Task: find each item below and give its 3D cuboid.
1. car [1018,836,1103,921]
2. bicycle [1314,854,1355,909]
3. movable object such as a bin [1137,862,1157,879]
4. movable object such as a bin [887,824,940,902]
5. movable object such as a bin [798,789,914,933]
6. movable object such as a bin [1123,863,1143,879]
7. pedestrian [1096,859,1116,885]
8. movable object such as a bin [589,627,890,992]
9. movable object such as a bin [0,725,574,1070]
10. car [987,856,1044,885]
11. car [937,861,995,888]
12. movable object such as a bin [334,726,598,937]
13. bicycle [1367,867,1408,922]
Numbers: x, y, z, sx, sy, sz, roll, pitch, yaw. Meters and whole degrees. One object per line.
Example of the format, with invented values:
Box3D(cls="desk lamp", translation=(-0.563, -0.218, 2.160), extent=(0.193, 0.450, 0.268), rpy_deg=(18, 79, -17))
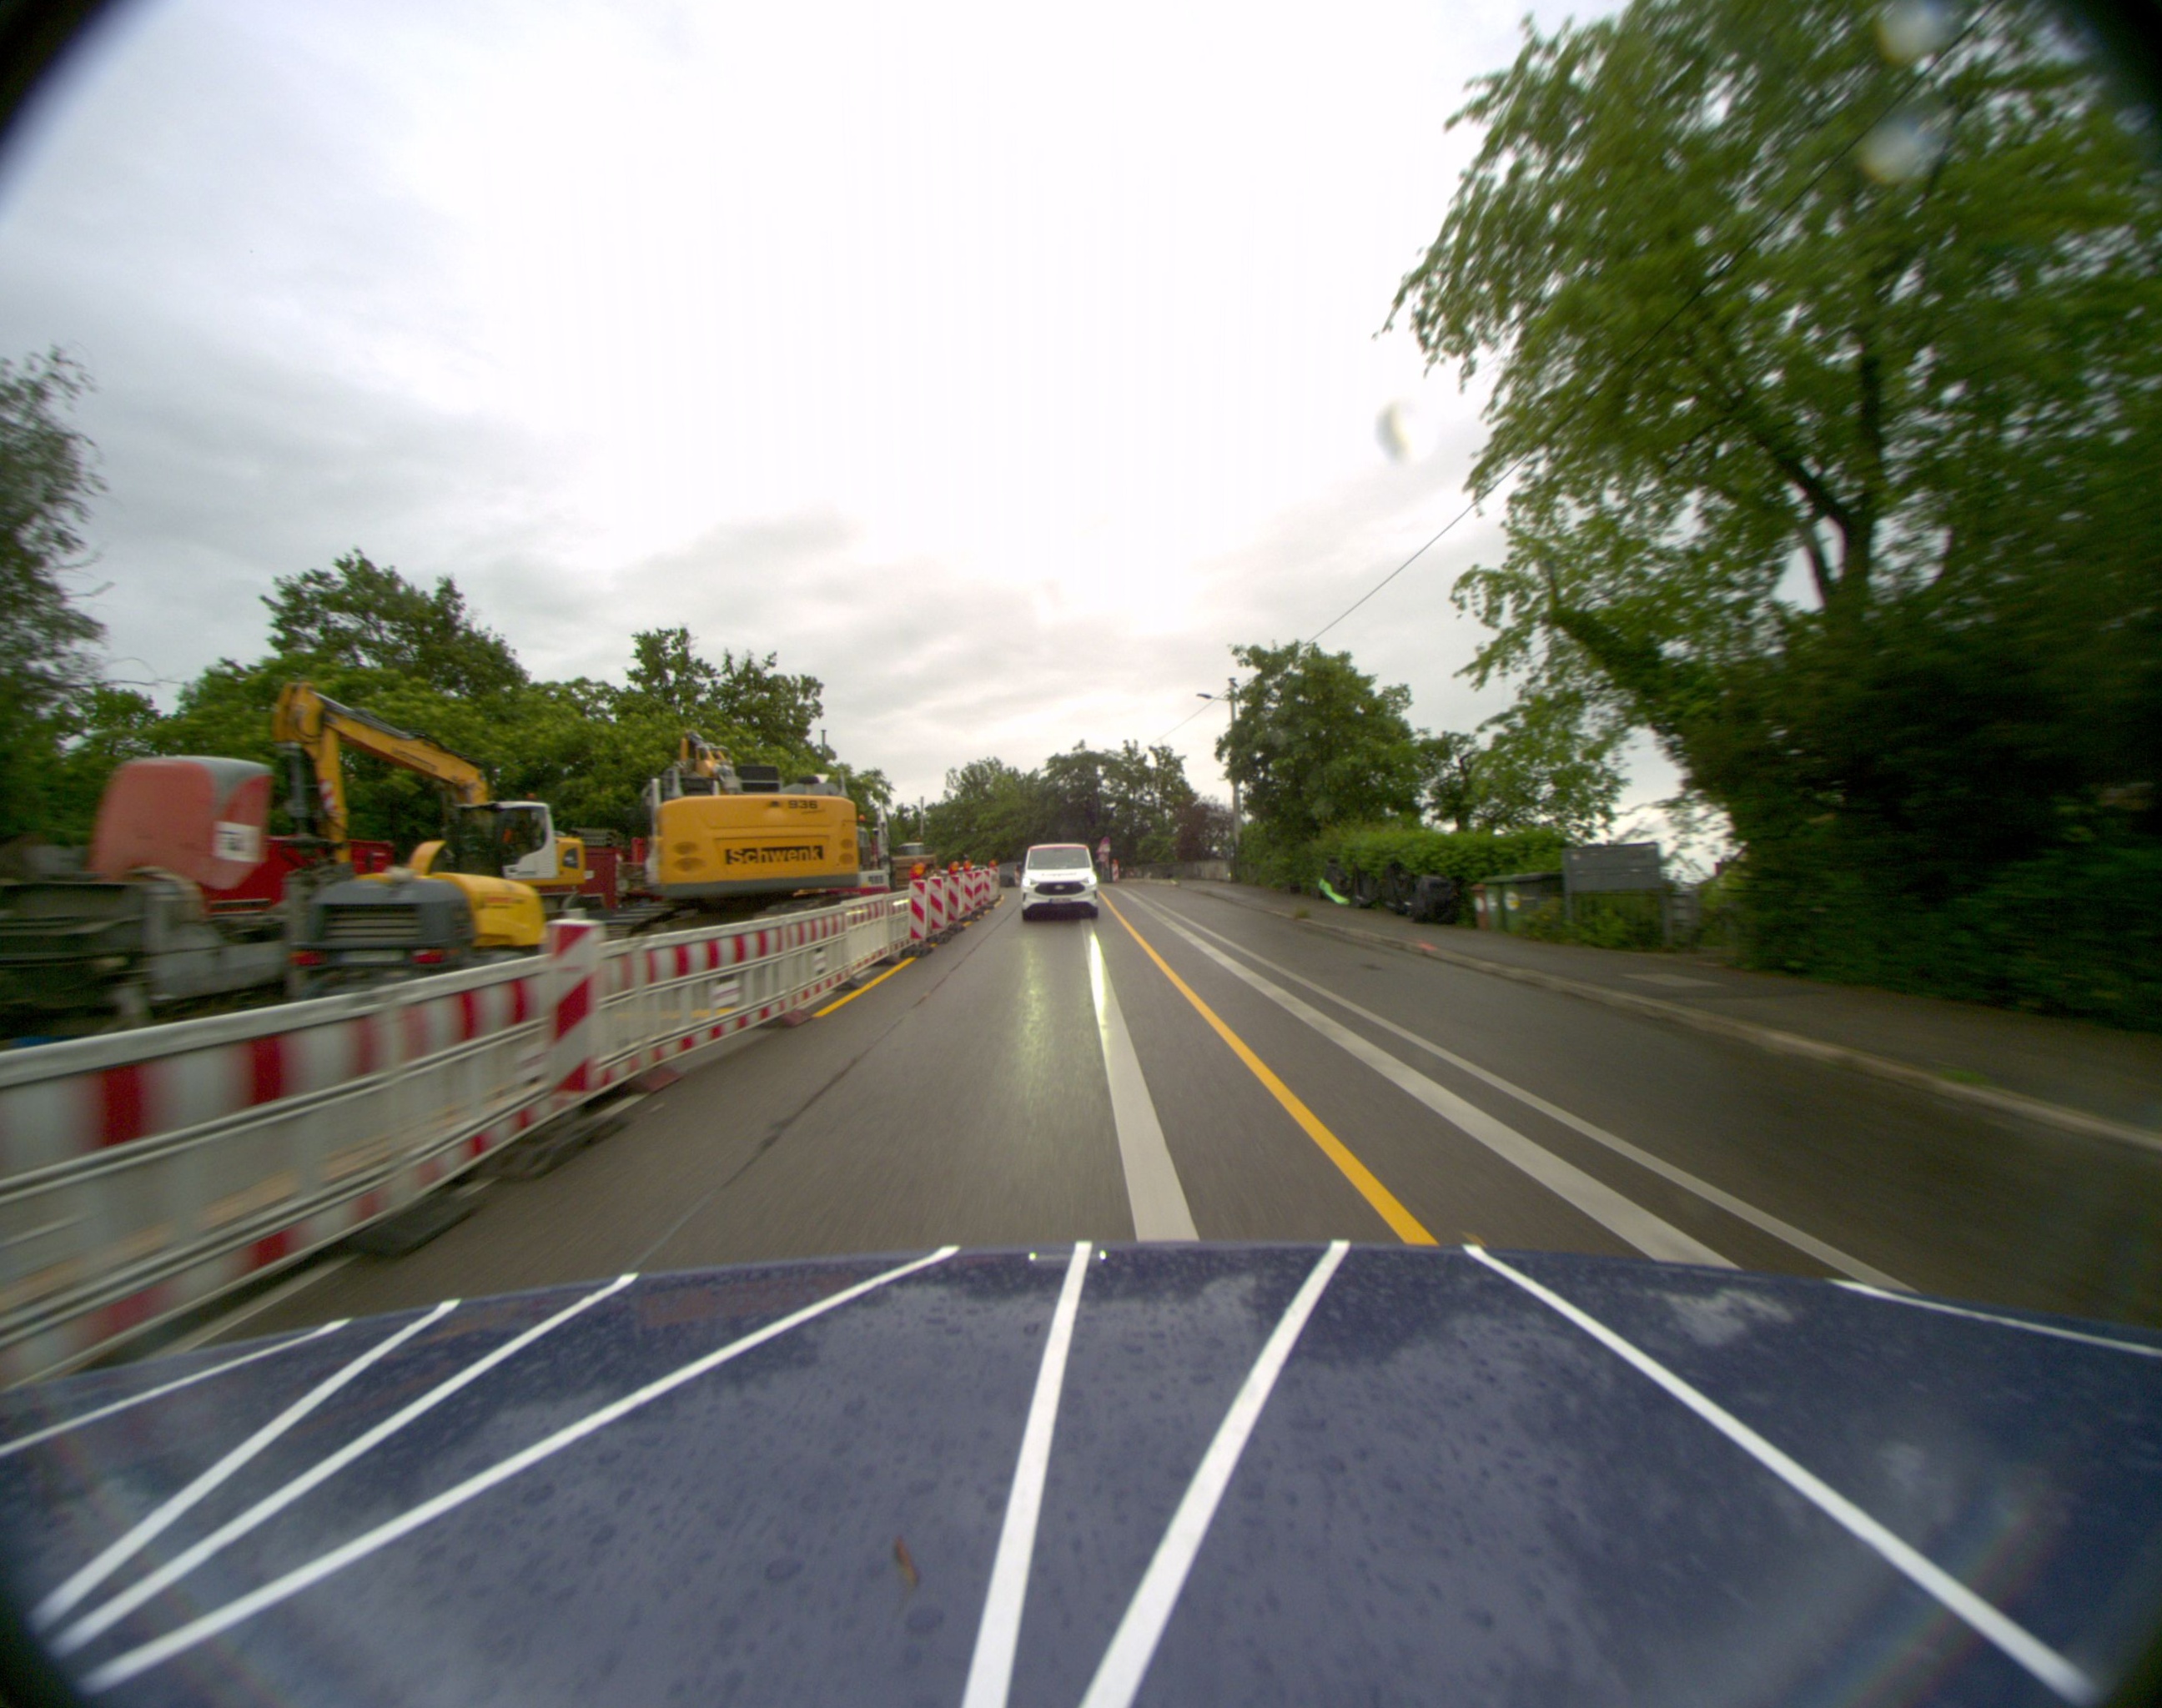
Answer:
Box3D(cls="car", translation=(-0.432, 0.683, 21.247), extent=(1.998, 2.001, 4.951), rpy_deg=(2, -2, 2))
Box3D(cls="bicycle", translation=(6.593, 0.688, 19.834), extent=(0.421, 1.342, 1.742), rpy_deg=(-2, 1, -1))
Box3D(cls="movable object such as a bin", translation=(4.625, 1.144, 53.198), extent=(0.990, 1.099, 1.026), rpy_deg=(0, -4, -20))
Box3D(cls="movable object such as a bin", translation=(-8.114, 0.556, 37.253), extent=(2.082, 3.204, 5.285), rpy_deg=(-2, -6, -9))
Box3D(cls="movable object such as a bin", translation=(-5.606, 0.100, 19.503), extent=(1.999, 3.287, 3.832), rpy_deg=(-1, 2, -5))
Box3D(cls="movable object such as a bin", translation=(3.619, 1.163, 52.878), extent=(0.990, 1.099, 1.026), rpy_deg=(0, -2, -20))
Box3D(cls="pedestrian", translation=(1.706, 1.231, 51.828), extent=(0.927, 1.757, 0.978), rpy_deg=(-1, -1, -30))
Box3D(cls="movable object such as a bin", translation=(-7.575, -0.714, 15.409), extent=(3.072, 4.891, 10.789), rpy_deg=(-3, 3, -37))
Box3D(cls="movable object such as a bin", translation=(-8.501, 0.460, 8.543), extent=(4.000, 3.182, 2.408), rpy_deg=(-2, -6, -10))
Box3D(cls="car", translation=(-5.109, 1.286, 58.664), extent=(2.004, 2.001, 4.937), rpy_deg=(-1, -2, -38))
Box3D(cls="car", translation=(-9.604, 1.707, 63.257), extent=(4.801, 2.001, 1.876), rpy_deg=(-4, -3, 36))
Box3D(cls="movable object such as a bin", translation=(-12.914, -0.398, 16.461), extent=(1.999, 3.865, 4.616), rpy_deg=(-2, 0, -3))
Box3D(cls="bicycle", translation=(6.655, 0.861, 16.540), extent=(0.339, 1.101, 1.256), rpy_deg=(-2, 1, -1))
